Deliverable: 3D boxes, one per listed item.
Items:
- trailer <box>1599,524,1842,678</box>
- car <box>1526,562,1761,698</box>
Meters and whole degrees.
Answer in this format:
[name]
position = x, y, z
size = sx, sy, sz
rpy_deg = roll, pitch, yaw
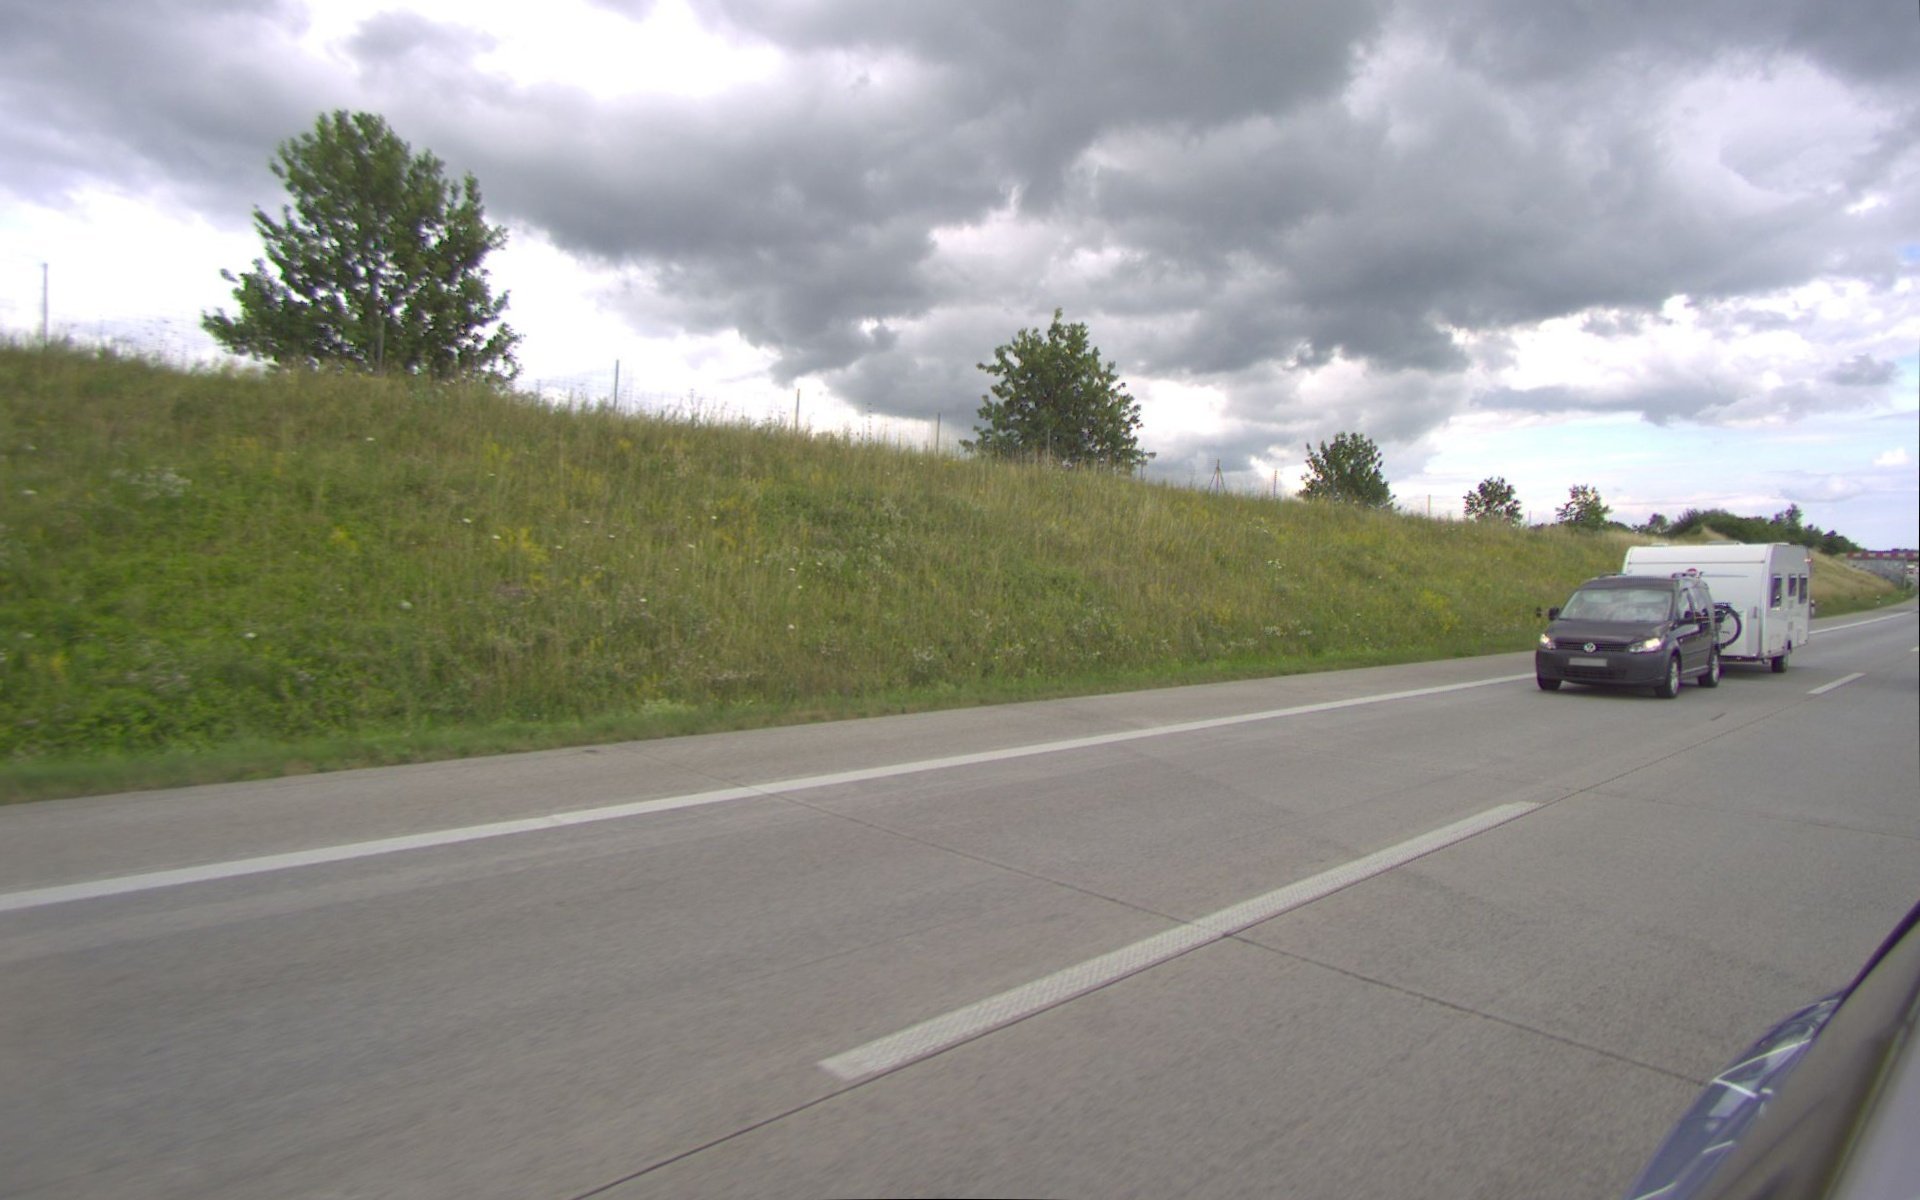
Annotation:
[trailer]
position = 15.150, -0.052, 19.967
size = 6.606, 2.566, 2.612
rpy_deg = -1, 2, -42
[car]
position = 10.902, 0.355, 15.980
size = 4.946, 1.832, 1.942
rpy_deg = -1, 2, -42
